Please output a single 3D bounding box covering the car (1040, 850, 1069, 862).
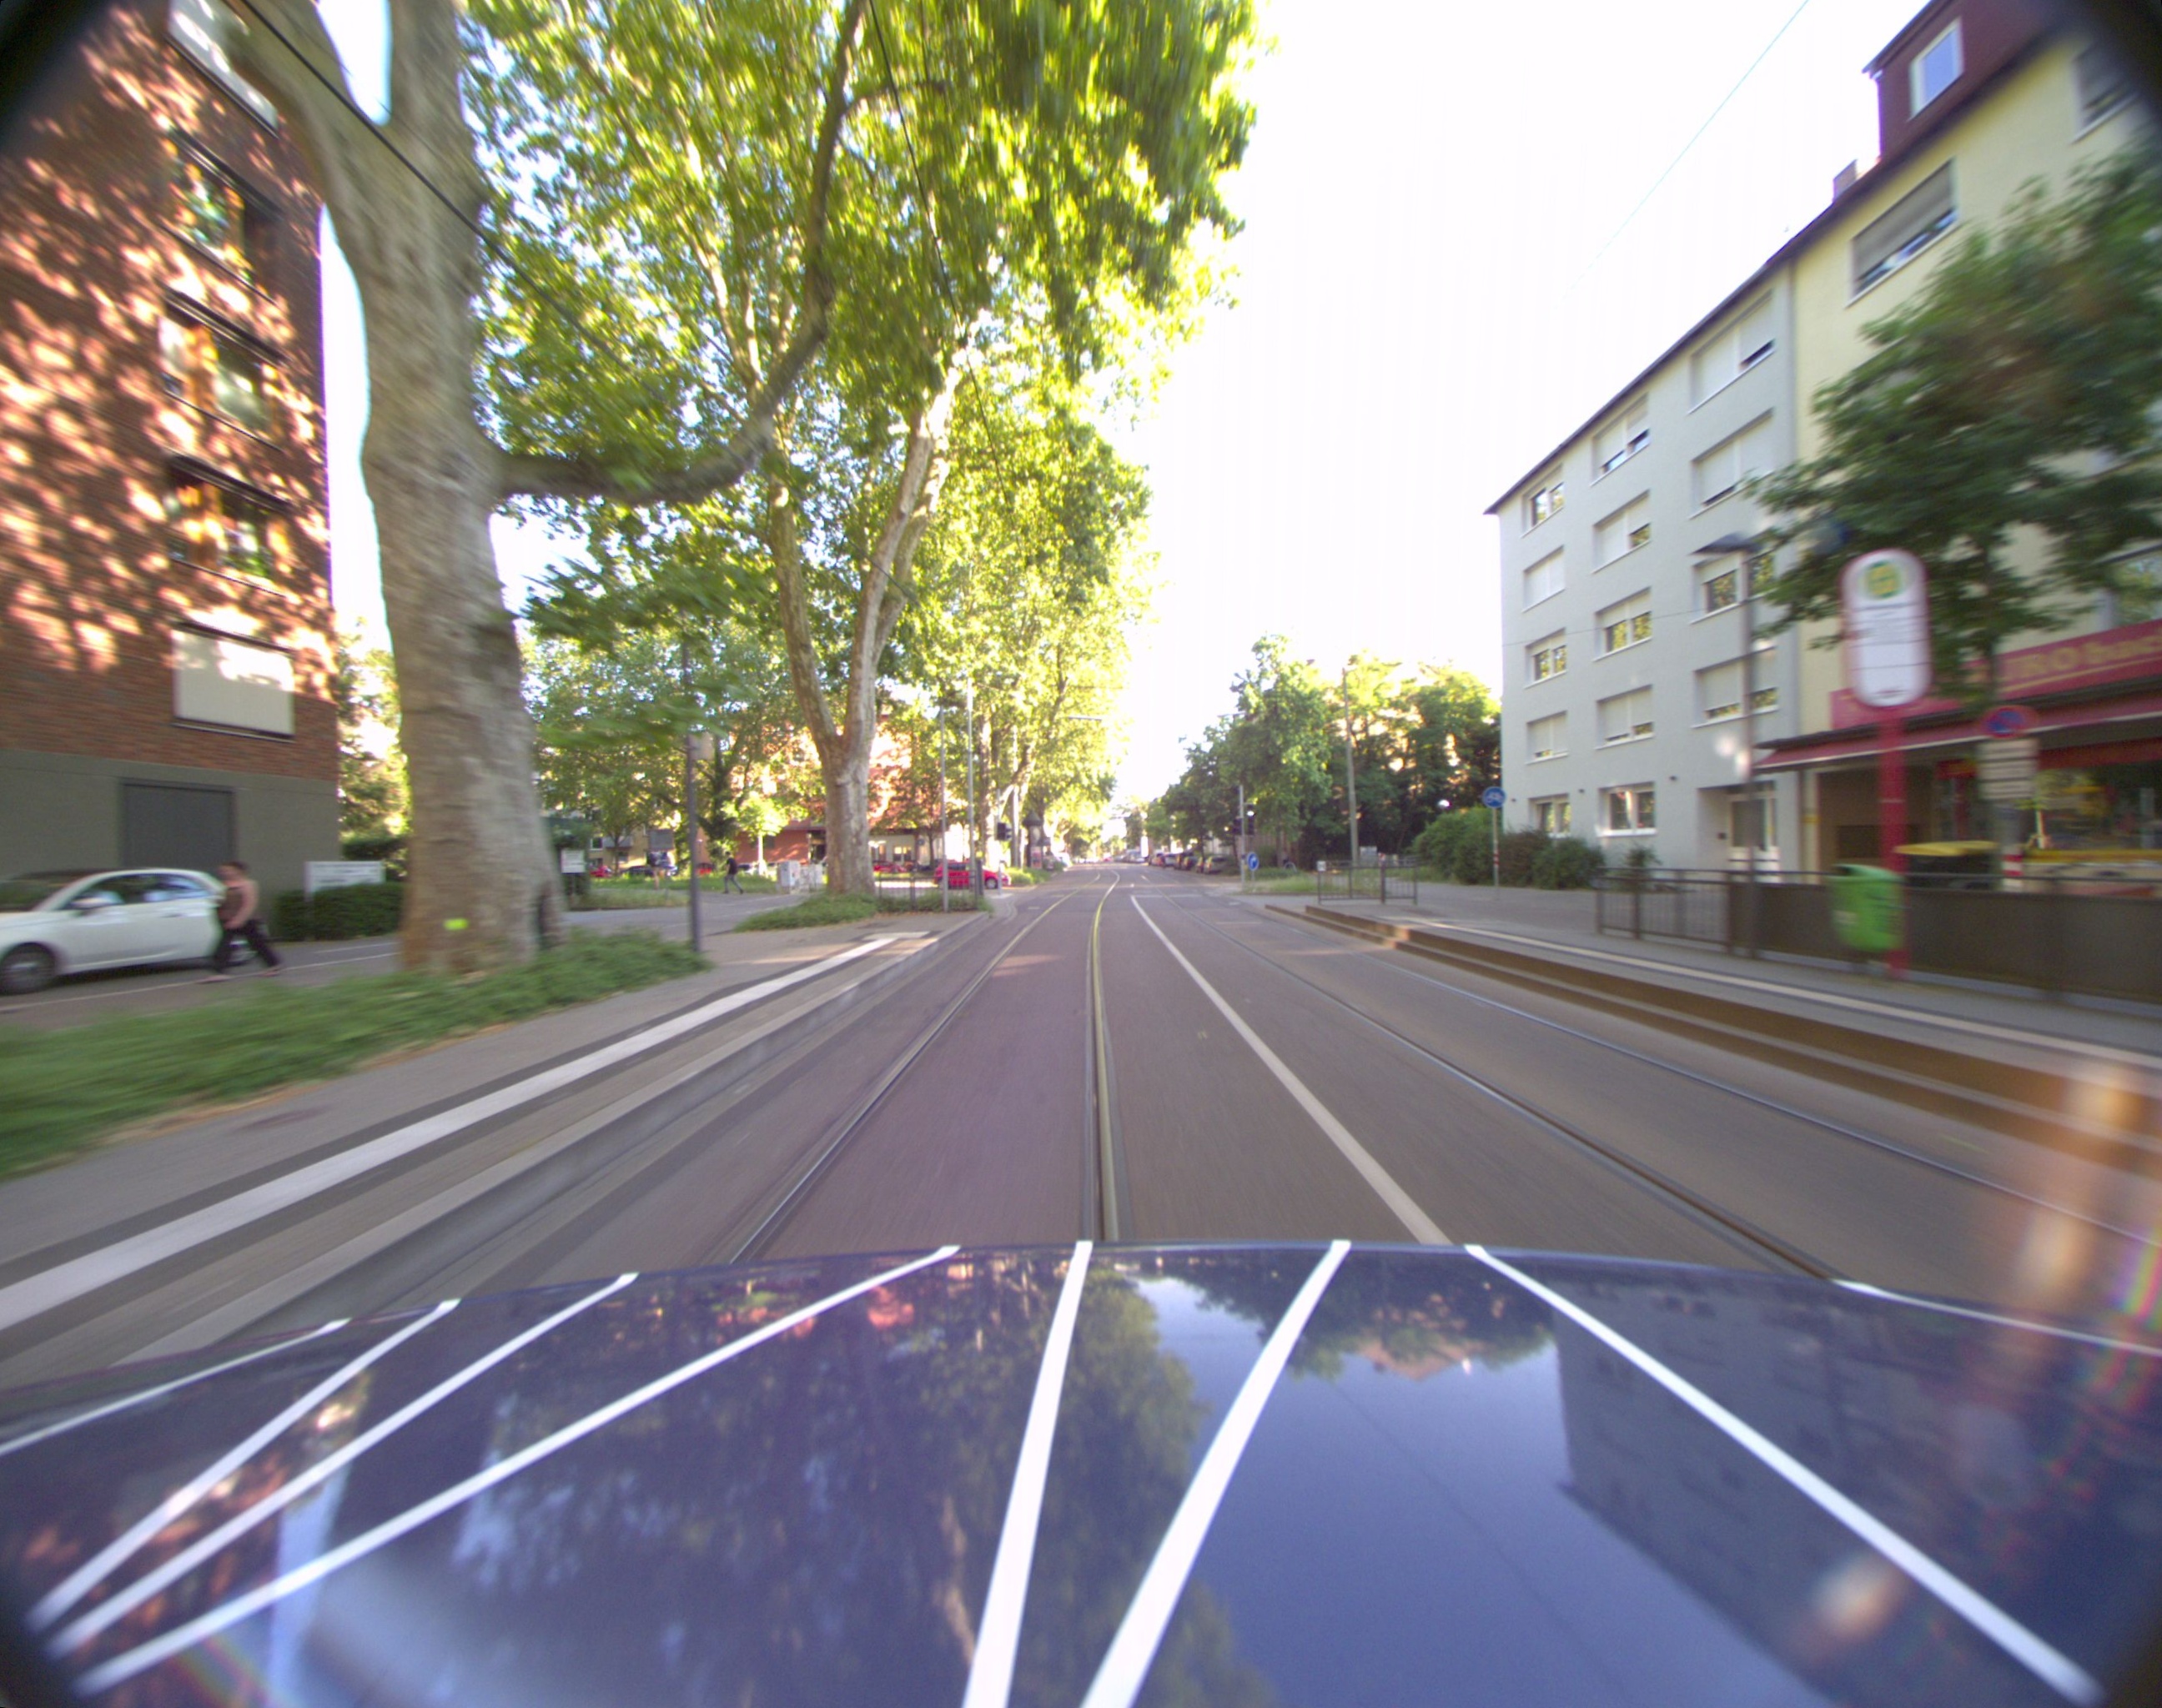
[{"bbox_3d":[-4.439,0.273,127.615,4.859,2.002,2.194,0,0,-3],"label":"car"}]

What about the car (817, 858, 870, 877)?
[{"bbox_3d":[-19.909,1.120,63.830,3.928,1.444,1.683,-1,0,-1],"label":"car"}]

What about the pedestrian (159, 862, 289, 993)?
[{"bbox_3d":[-11.428,0.954,10.167,0.737,1.659,0.834,-1,1,0],"label":"pedestrian"}]

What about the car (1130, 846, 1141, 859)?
[{"bbox_3d":[11.796,-0.283,165.802,1.927,2.730,4.546,-5,0,1],"label":"car"}]

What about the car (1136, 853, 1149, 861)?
[{"bbox_3d":[12.074,0.565,149.318,1.776,1.484,4.940,-2,0,-2],"label":"car"}]

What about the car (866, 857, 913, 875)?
[{"bbox_3d":[-15.997,0.968,63.583,3.547,1.444,1.683,-1,0,-1],"label":"car"}]

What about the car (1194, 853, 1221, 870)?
[{"bbox_3d":[11.216,0.681,67.639,1.662,1.437,3.949,-2,0,0],"label":"car"}]

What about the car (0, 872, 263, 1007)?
[{"bbox_3d":[-13.248,1.029,9.832,1.604,1.486,3.416,-1,0,-1],"label":"car"}]

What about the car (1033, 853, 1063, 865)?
[{"bbox_3d":[-4.757,0.750,109.603,4.211,1.609,1.878,-1,0,-2],"label":"car"}]

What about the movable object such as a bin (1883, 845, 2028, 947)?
[{"bbox_3d":[12.681,0.588,11.048,1.173,1.340,0.783,-5,1,-3],"label":"movable object such as a bin"}]

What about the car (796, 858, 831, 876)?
[{"bbox_3d":[-25.066,1.190,71.348,1.794,1.565,4.576,-1,0,-3],"label":"car"}]

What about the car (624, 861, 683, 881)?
[{"bbox_3d":[-35.443,1.425,63.026,3.928,1.572,1.683,-1,0,-1],"label":"car"}]

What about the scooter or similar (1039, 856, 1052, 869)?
[{"bbox_3d":[-3.510,0.834,75.657,1.211,1.232,0.569,-1,1,-1],"label":"scooter or similar"}]

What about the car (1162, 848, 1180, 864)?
[{"bbox_3d":[11.520,0.296,97.673,1.848,1.977,4.988,-1,0,2],"label":"car"}]

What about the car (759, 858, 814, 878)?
[{"bbox_3d":[-24.733,1.181,63.799,3.928,1.572,1.683,-1,0,-1],"label":"car"}]

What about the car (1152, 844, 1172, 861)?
[{"bbox_3d":[11.998,-0.191,112.765,2.310,2.493,5.343,-1,0,-1],"label":"car"}]

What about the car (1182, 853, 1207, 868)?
[{"bbox_3d":[11.556,0.655,77.823,1.858,1.450,4.270,-1,0,0],"label":"car"}]

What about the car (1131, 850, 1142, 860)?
[{"bbox_3d":[11.662,0.145,159.851,1.928,2.034,4.941,-2,0,0],"label":"car"}]

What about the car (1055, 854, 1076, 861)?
[{"bbox_3d":[-3.361,0.708,166.816,4.611,1.485,1.893,0,-1,3],"label":"car"}]

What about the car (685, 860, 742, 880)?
[{"bbox_3d":[-30.610,1.334,63.387,3.928,1.572,1.683,-1,0,-1],"label":"car"}]

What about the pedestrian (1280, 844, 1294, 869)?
[{"bbox_3d":[15.052,0.183,55.615,0.743,1.836,0.728,-3,0,-1],"label":"pedestrian"}]

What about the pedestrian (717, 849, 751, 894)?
[{"bbox_3d":[-14.146,0.699,30.989,0.997,1.800,0.864,-1,0,-5],"label":"pedestrian"}]

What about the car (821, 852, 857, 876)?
[{"bbox_3d":[-22.750,0.885,71.555,1.917,2.171,5.083,-1,0,-2],"label":"car"}]

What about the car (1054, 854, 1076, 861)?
[{"bbox_3d":[-3.552,0.723,164.545,4.611,1.485,1.893,0,-1,3],"label":"car"}]

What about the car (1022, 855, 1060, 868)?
[{"bbox_3d":[-4.791,0.873,91.607,4.413,1.534,1.952,-1,0,3],"label":"car"}]

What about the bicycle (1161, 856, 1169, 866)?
[{"bbox_3d":[9.358,0.775,84.580,0.642,0.981,2.101,-1,1,0],"label":"bicycle"}]

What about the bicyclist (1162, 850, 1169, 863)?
[{"bbox_3d":[9.358,0.308,84.542,0.642,1.447,0.837,-1,1,0],"label":"bicyclist"}]

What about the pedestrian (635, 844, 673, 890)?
[{"bbox_3d":[-18.024,0.540,32.102,0.985,1.853,1.015,2,0,-5],"label":"pedestrian"}]

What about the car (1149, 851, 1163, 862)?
[{"bbox_3d":[11.991,0.347,121.927,1.997,1.680,4.262,-1,0,3],"label":"car"}]

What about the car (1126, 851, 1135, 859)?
[{"bbox_3d":[12.003,0.245,184.482,1.791,1.743,4.435,-2,0,0],"label":"car"}]

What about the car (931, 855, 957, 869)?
[{"bbox_3d":[-14.270,0.821,79.293,1.753,1.426,4.468,-1,0,1],"label":"car"}]

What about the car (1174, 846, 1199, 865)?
[{"bbox_3d":[11.502,0.200,83.289,1.999,2.002,4.834,-1,0,0],"label":"car"}]

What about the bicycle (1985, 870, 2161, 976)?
[{"bbox_3d":[12.013,0.783,8.987,1.537,1.069,0.885,-4,0,0],"label":"bicycle"}]

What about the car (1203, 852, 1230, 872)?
[{"bbox_3d":[11.151,0.655,62.740,1.703,1.541,4.537,-2,0,4],"label":"car"}]

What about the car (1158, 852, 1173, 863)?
[{"bbox_3d":[11.915,0.464,107.448,1.689,1.530,3.707,-1,0,0],"label":"car"}]

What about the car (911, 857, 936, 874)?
[{"bbox_3d":[-14.803,1.061,71.528,1.794,1.565,4.576,-1,0,-5],"label":"car"}]

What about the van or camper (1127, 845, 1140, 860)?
[{"bbox_3d":[11.936,-0.345,172.562,2.423,2.960,5.991,-5,0,2],"label":"van or camper"}]

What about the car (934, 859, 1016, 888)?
[{"bbox_3d":[-5.454,0.991,39.411,3.893,1.415,1.649,-1,0,4],"label":"car"}]

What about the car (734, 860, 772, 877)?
[{"bbox_3d":[-30.806,1.337,71.524,1.794,1.565,4.576,-1,0,-3],"label":"car"}]

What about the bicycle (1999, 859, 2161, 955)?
[{"bbox_3d":[13.038,0.636,9.644,0.500,1.101,1.800,-5,0,-2],"label":"bicycle"}]
